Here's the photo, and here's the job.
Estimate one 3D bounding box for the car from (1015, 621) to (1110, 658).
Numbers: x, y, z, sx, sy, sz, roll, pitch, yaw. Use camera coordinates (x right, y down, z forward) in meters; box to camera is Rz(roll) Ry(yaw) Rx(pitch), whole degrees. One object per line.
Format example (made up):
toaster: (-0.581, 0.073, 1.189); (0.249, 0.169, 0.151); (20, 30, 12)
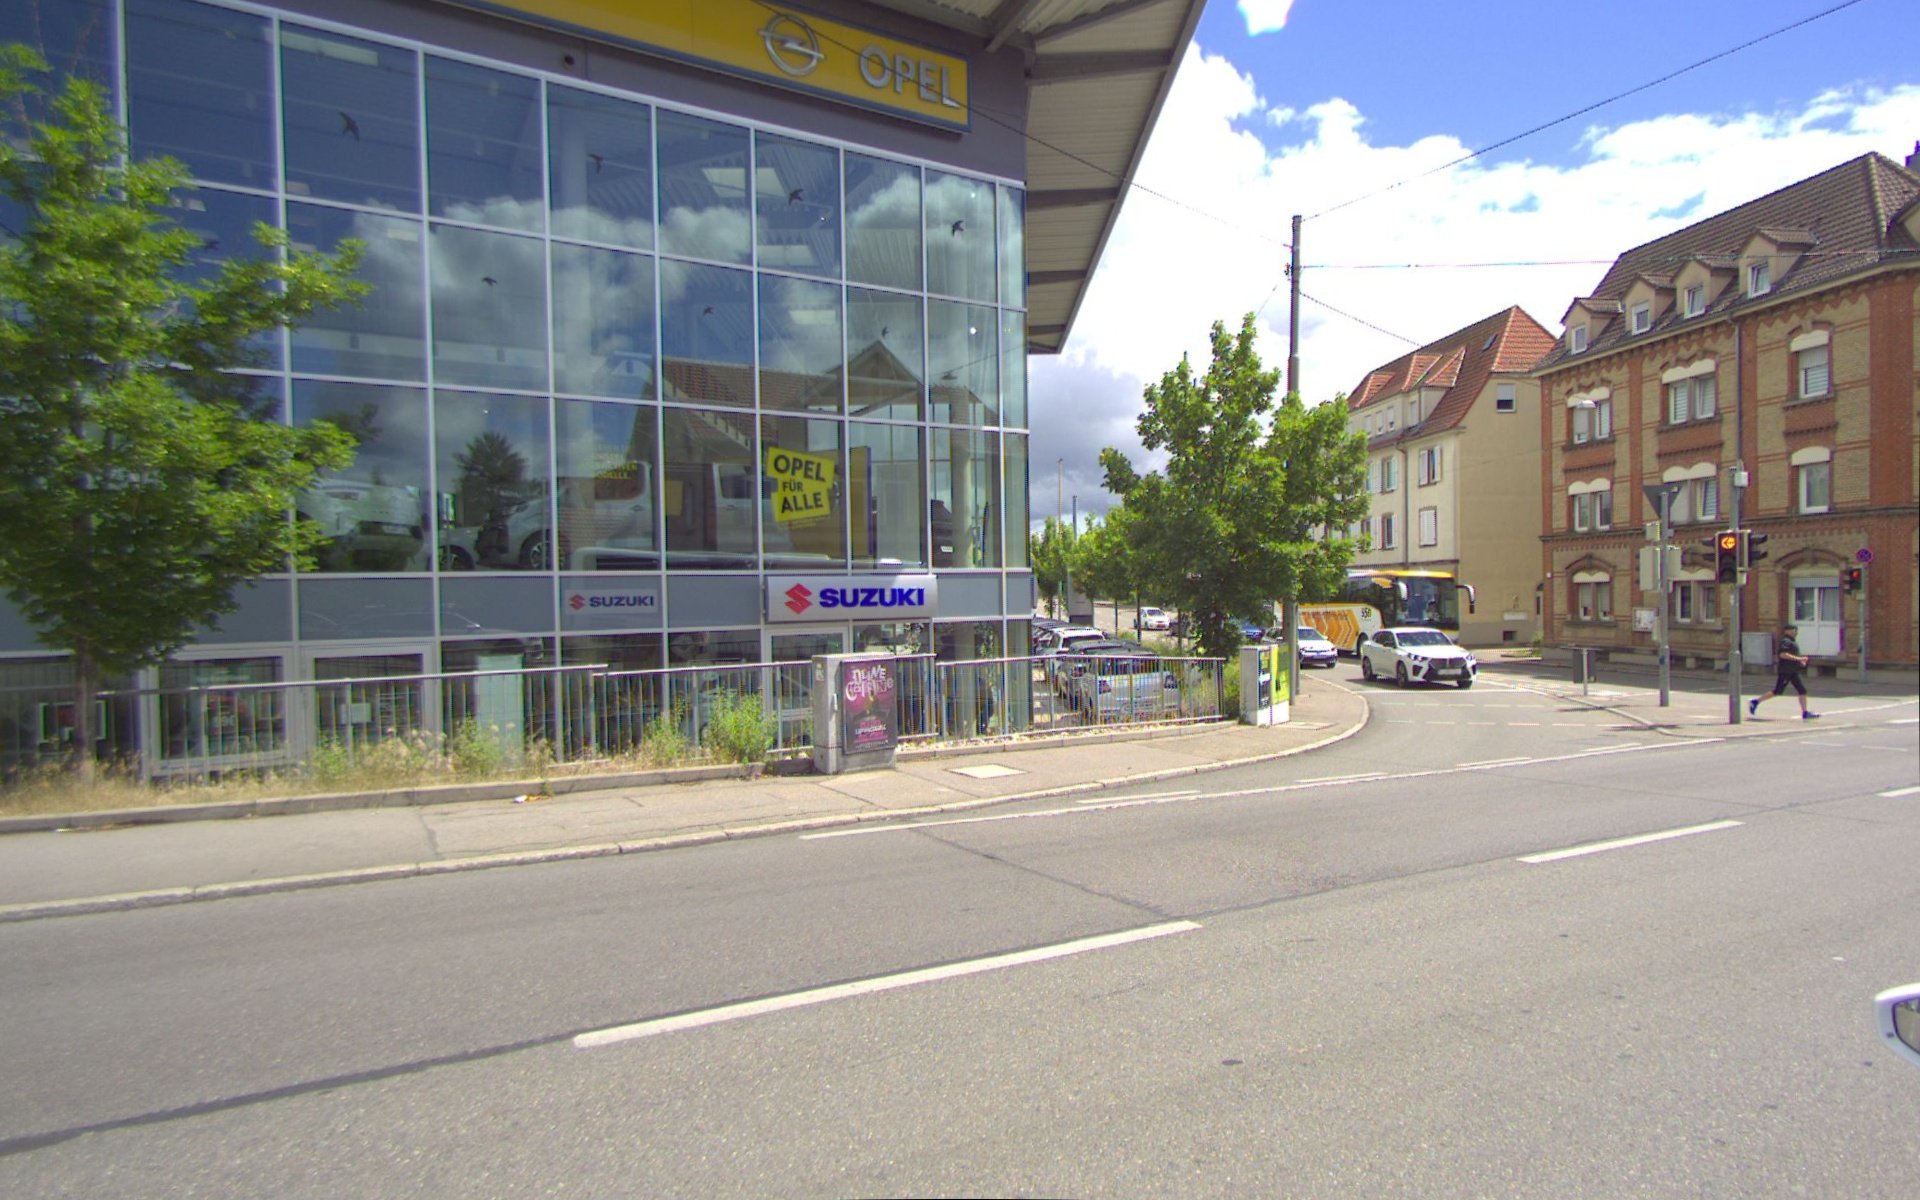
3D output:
car: (4.562, 1.744, 45.081); (3.925, 1.574, 1.806); (1, -1, -7)

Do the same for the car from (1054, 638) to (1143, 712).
car: (3.315, 1.770, 24.610); (1.584, 1.547, 3.499); (-1, 0, -2)

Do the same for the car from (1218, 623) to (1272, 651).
car: (15.721, 2.020, 55.576); (1.717, 1.428, 3.999); (1, -1, -3)

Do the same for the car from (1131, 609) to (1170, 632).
car: (13.540, 1.436, 71.452); (1.874, 1.574, 3.999); (1, -1, -2)

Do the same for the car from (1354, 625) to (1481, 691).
car: (12.767, 1.564, 28.333); (1.797, 1.572, 4.307); (-1, 0, 3)

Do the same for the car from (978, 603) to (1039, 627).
car: (3.232, 1.004, 67.602); (3.922, 1.574, 1.807); (1, -1, -1)

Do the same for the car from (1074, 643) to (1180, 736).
car: (3.308, 1.749, 20.426); (1.648, 1.582, 3.365); (-1, 0, 1)

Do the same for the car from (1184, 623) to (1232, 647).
car: (15.569, 2.203, 63.301); (1.874, 1.428, 3.999); (1, -1, -2)

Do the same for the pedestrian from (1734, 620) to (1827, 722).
pedestrian: (14.824, 1.254, 18.166); (0.751, 1.757, 1.133); (1, -1, -34)

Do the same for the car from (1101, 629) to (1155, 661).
car: (8.155, 2.153, 48.941); (1.766, 1.467, 3.498); (1, -1, -5)

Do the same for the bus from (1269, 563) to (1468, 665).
bus: (16.845, 0.605, 42.916); (2.718, 3.670, 12.257); (1, -1, -4)

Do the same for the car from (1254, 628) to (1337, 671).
car: (12.258, 1.785, 36.918); (1.847, 1.437, 3.621); (1, -1, 0)

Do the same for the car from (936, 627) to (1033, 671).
car: (0.854, 1.773, 36.955); (3.432, 1.467, 1.799); (-1, 0, -3)

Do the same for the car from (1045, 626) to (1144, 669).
car: (4.962, 1.747, 37.374); (3.430, 1.497, 1.800); (1, -1, 1)

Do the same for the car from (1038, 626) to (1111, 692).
car: (3.252, 1.657, 29.179); (1.620, 1.703, 3.499); (-1, 0, -2)

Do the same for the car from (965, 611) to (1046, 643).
car: (2.359, 1.412, 52.786); (3.930, 1.574, 1.804); (1, -1, -12)
